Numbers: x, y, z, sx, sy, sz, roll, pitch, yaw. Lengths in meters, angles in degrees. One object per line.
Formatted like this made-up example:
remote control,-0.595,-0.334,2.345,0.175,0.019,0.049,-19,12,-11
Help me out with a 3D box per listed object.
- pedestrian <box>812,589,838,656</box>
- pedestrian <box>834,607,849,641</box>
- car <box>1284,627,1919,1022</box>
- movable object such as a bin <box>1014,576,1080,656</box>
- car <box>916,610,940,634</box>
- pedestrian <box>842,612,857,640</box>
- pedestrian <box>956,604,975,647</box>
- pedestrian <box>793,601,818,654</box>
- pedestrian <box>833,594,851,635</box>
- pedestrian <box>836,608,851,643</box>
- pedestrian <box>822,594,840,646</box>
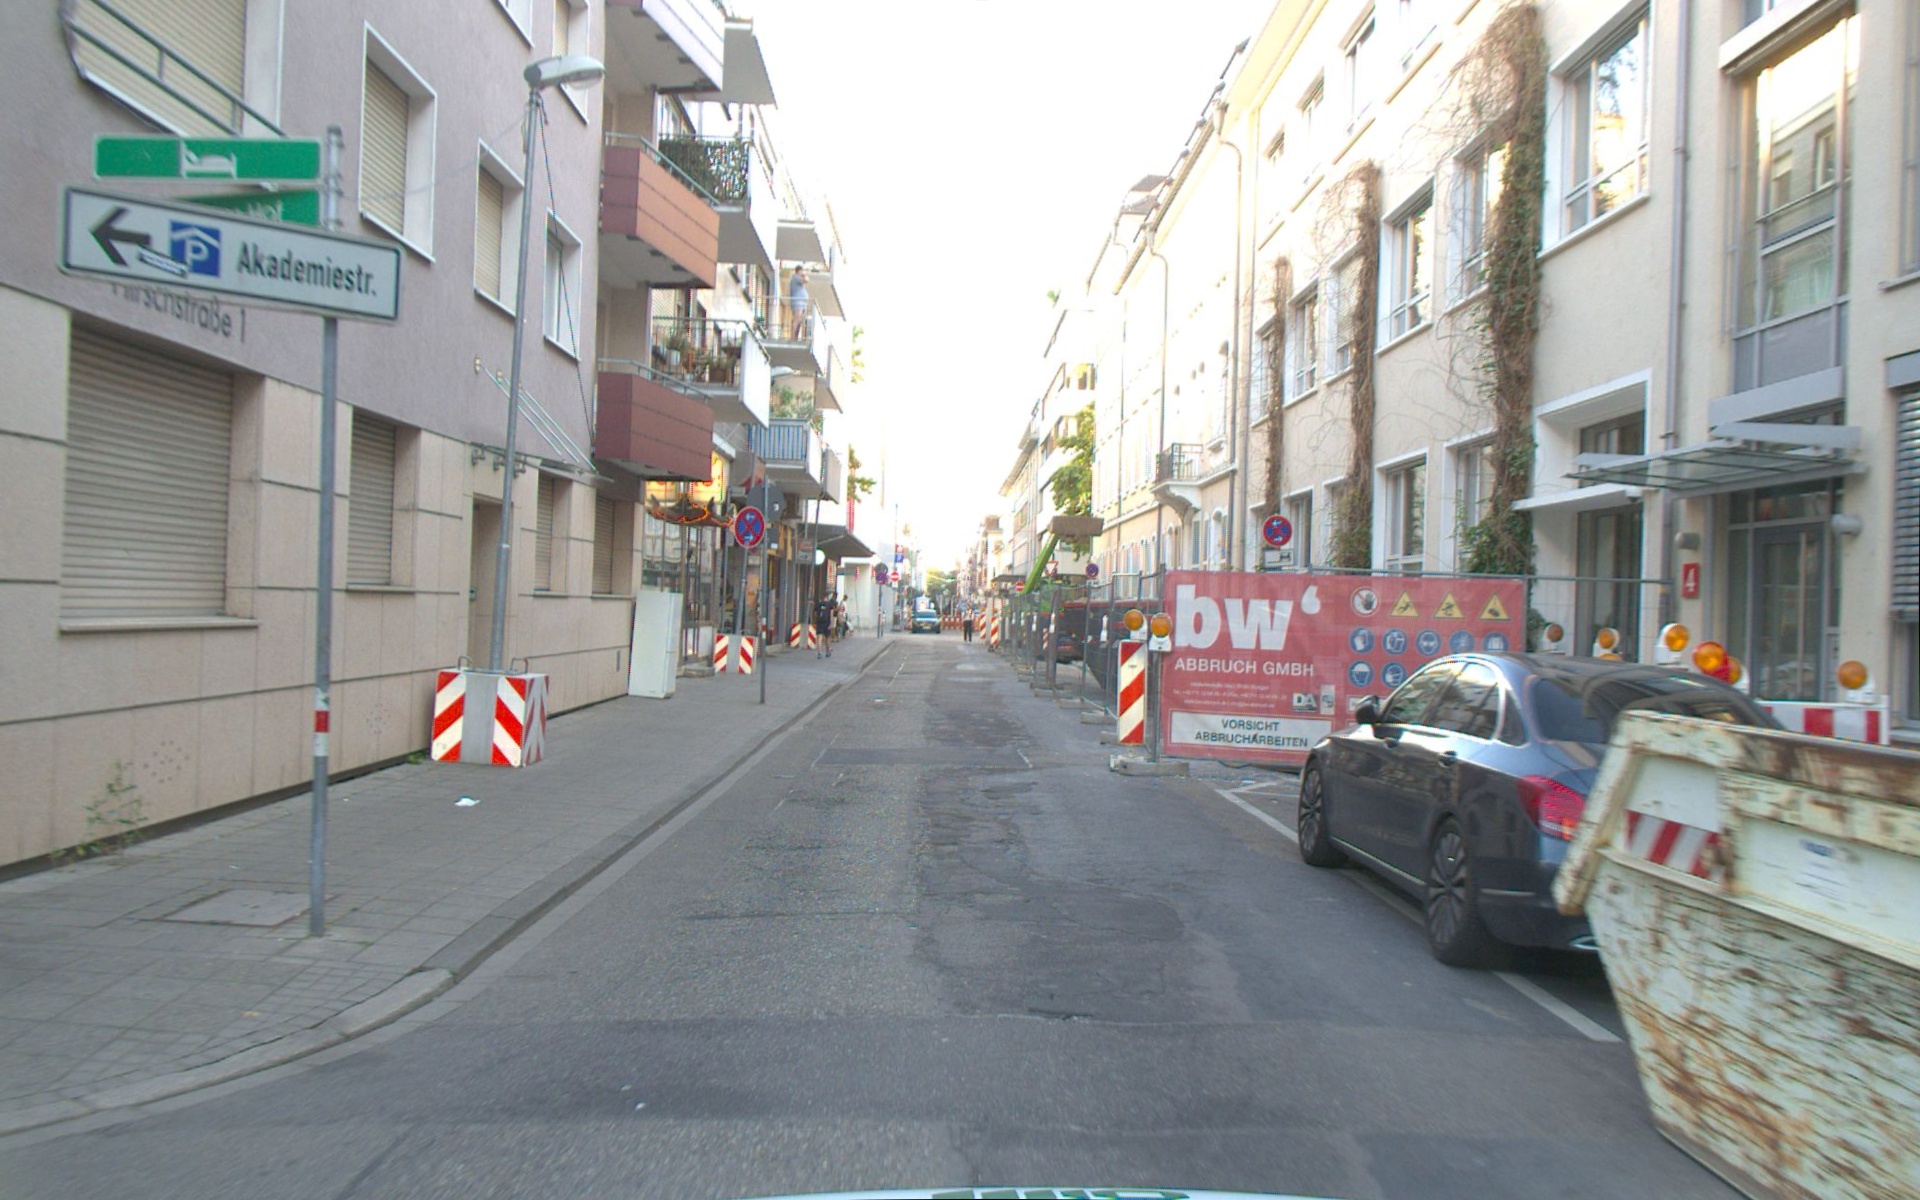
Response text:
pedestrian,-3.699,0.616,45.501,0.616,1.840,0.647,1,-1,0
pedestrian,-4.949,1.000,69.106,0.531,1.412,0.625,1,-1,0
car,3.013,0.917,8.700,1.659,1.431,4.478,2,0,-1
movable object such as a bin,3.666,0.646,70.187,2.420,3.185,4.297,2,0,-1
car,-1.970,1.350,101.458,1.444,1.422,3.331,1,-1,-1
pedestrian,-4.846,1.147,72.383,0.605,1.192,0.787,1,-1,-2
pedestrian,0.238,1.079,69.711,0.705,1.770,0.647,1,-1,-3
pedestrian,-4.771,0.851,51.078,0.635,1.592,0.628,2,-1,-16
pedestrian,-5.380,0.641,75.497,0.635,1.841,0.628,2,-1,-17
pedestrian,-4.781,1.047,67.895,0.547,1.415,0.892,1,-1,-1
pedestrian,-4.737,0.732,60.865,0.560,1.919,0.656,1,-1,2
